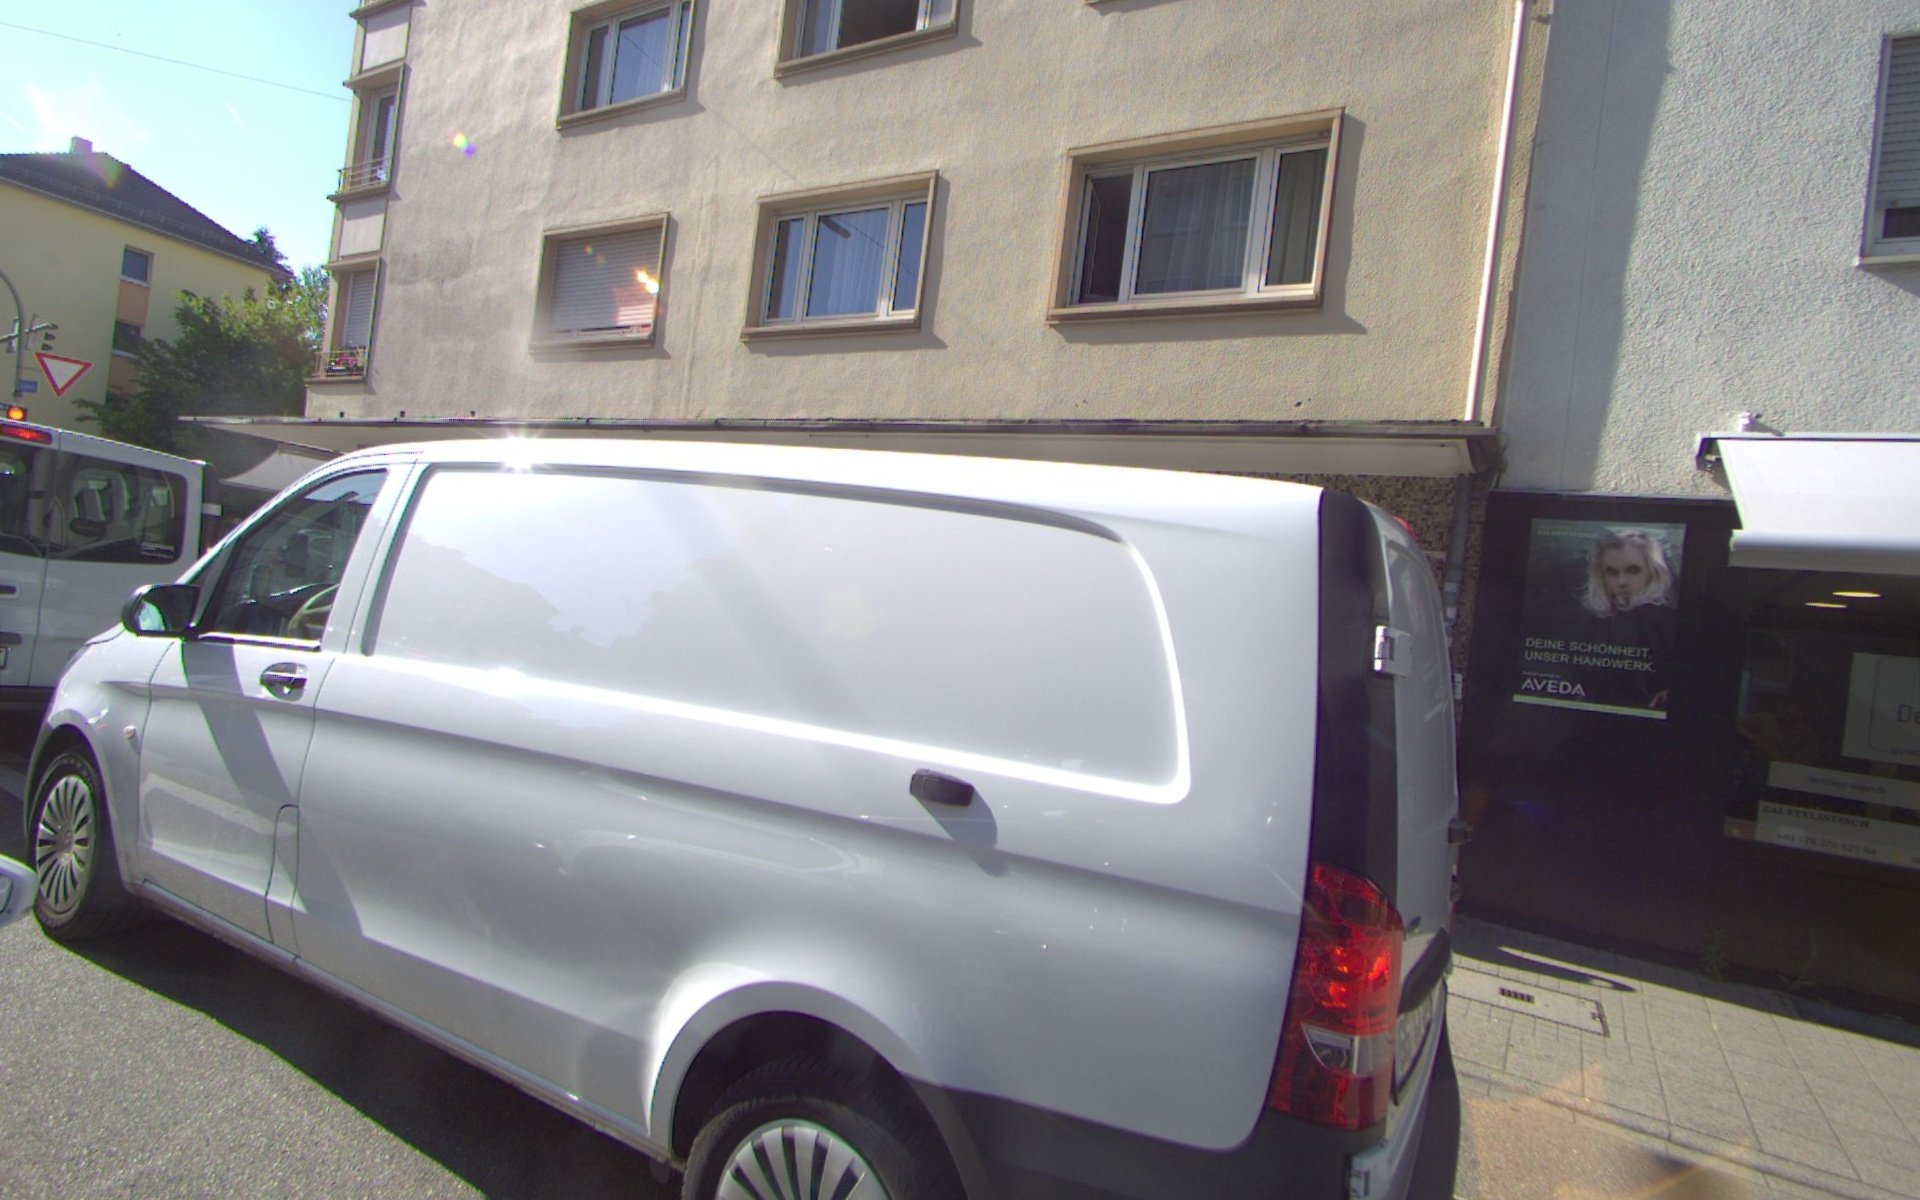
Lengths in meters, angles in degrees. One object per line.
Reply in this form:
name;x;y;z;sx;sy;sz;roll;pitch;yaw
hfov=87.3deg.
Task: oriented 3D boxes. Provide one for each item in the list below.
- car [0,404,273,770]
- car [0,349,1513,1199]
car;-7.194;-0.268;6.986;4.813;2.001;1.998;7;-2;31
car;-1.062;0.439;3.358;4.911;1.891;1.840;7;-1;30
